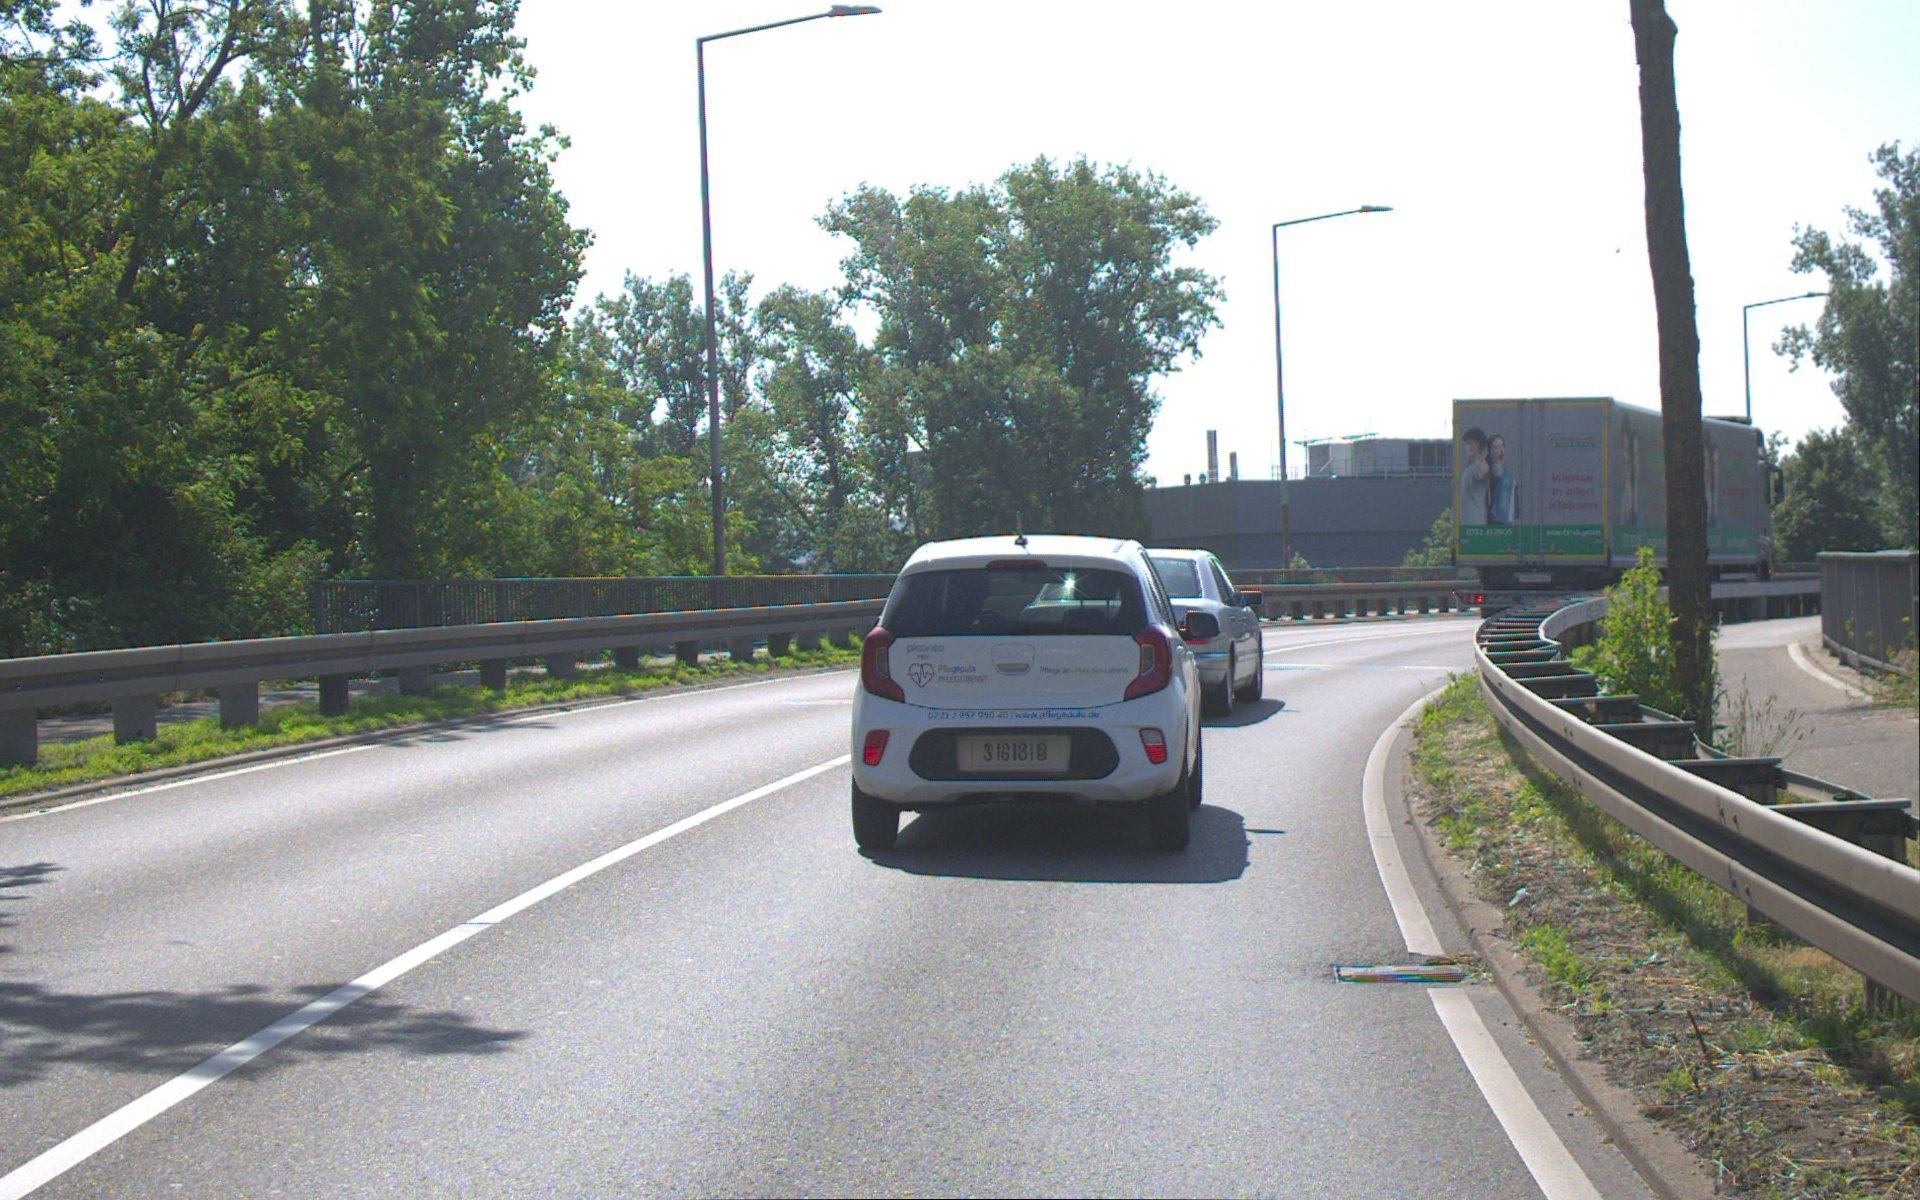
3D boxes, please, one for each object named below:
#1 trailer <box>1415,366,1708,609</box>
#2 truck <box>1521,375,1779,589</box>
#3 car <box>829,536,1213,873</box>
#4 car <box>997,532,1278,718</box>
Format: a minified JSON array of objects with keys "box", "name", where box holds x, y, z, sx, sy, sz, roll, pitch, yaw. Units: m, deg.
[{"box":[10.151,-1.937,57.276,3.228,3.745,7.817,1,3,22],"name":"trailer"},{"box":[13.089,-2.271,64.626,3.264,3.745,8.362,1,3,22],"name":"truck"},{"box":[0.421,0.436,17.729,1.702,1.489,4.000,1,2,5],"name":"car"},{"box":[1.643,0.150,29.972,1.939,1.481,4.898,0,1,9],"name":"car"}]
